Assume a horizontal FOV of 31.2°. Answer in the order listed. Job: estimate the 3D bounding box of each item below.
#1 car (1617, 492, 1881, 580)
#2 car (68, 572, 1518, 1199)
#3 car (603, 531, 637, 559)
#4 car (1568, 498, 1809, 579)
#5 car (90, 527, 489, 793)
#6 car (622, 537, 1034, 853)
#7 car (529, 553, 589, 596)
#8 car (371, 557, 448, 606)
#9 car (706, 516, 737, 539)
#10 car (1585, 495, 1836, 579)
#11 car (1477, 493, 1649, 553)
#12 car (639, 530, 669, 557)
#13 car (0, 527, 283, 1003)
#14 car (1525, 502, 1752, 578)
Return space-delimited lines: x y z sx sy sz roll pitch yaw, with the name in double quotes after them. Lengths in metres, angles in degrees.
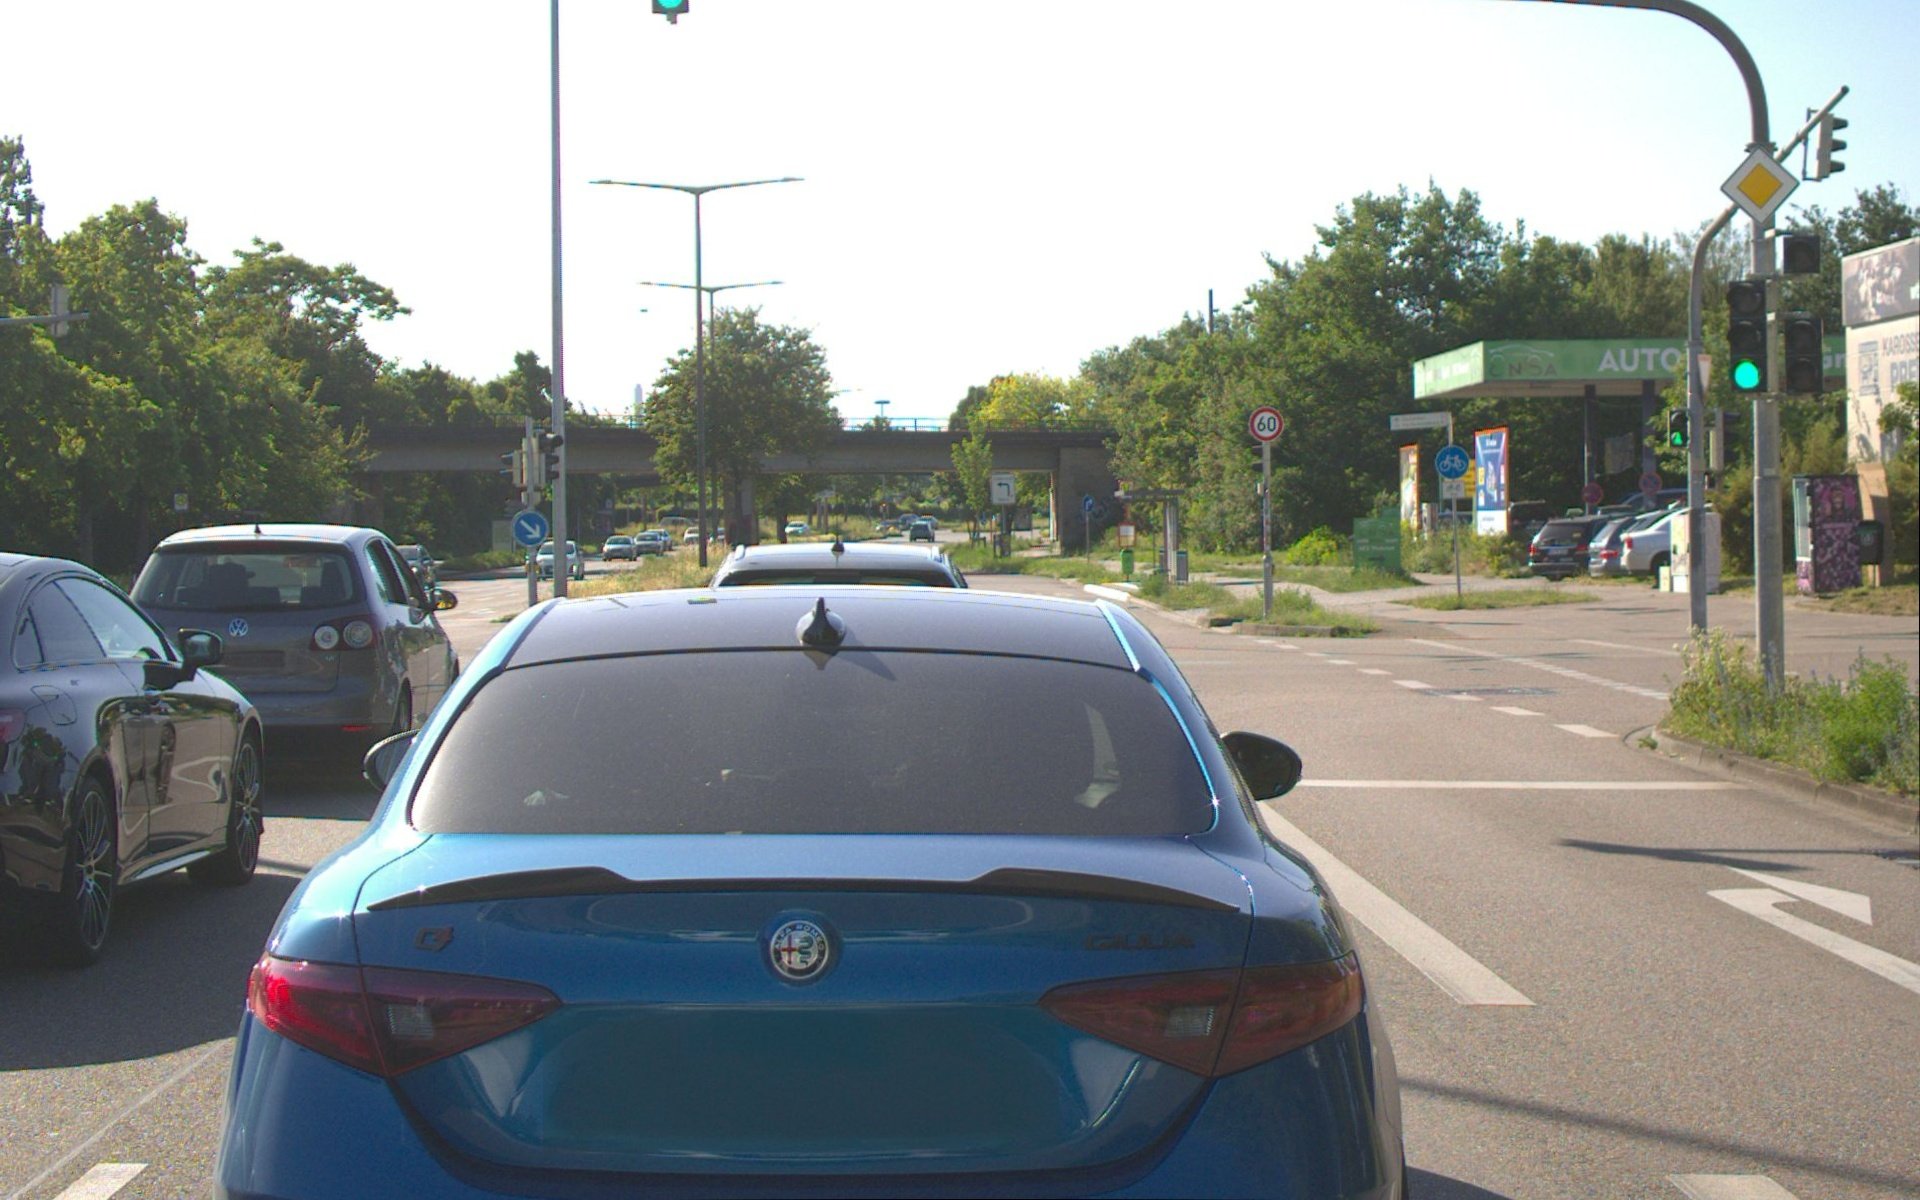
14.778 -1.196 64.558 4.489 1.449 1.858 -2 1 1 "car"
-0.283 0.670 6.726 1.895 1.413 4.403 1 1 -2 "car"
-19.150 -3.084 193.886 1.615 1.554 3.358 1 1 -1 "car"
14.818 -1.250 70.091 4.489 1.449 1.858 -2 1 1 "car"
-4.100 0.317 21.689 1.759 1.485 4.403 1 1 -2 "car"
-0.662 0.410 17.813 1.850 1.413 4.403 1 1 -2 "car"
-14.853 -0.968 127.569 1.759 1.485 3.837 -2 1 0 "car"
-17.912 -0.626 112.035 1.759 1.485 4.478 -2 1 0 "car"
-15.908 -4.823 229.213 1.759 1.485 4.478 -2 1 0 "car"
14.662 -1.233 67.337 4.489 1.449 1.858 -2 1 1 "car"
17.047 -2.174 97.305 4.551 1.485 1.765 -2 1 1 "car"
-18.914 -3.503 212.572 1.609 1.641 3.463 1 1 -1 "car"
-3.839 0.482 12.960 1.796 1.485 4.476 1 1 -2 "car"
14.598 -1.297 74.141 4.489 1.449 1.858 -2 1 1 "car"
